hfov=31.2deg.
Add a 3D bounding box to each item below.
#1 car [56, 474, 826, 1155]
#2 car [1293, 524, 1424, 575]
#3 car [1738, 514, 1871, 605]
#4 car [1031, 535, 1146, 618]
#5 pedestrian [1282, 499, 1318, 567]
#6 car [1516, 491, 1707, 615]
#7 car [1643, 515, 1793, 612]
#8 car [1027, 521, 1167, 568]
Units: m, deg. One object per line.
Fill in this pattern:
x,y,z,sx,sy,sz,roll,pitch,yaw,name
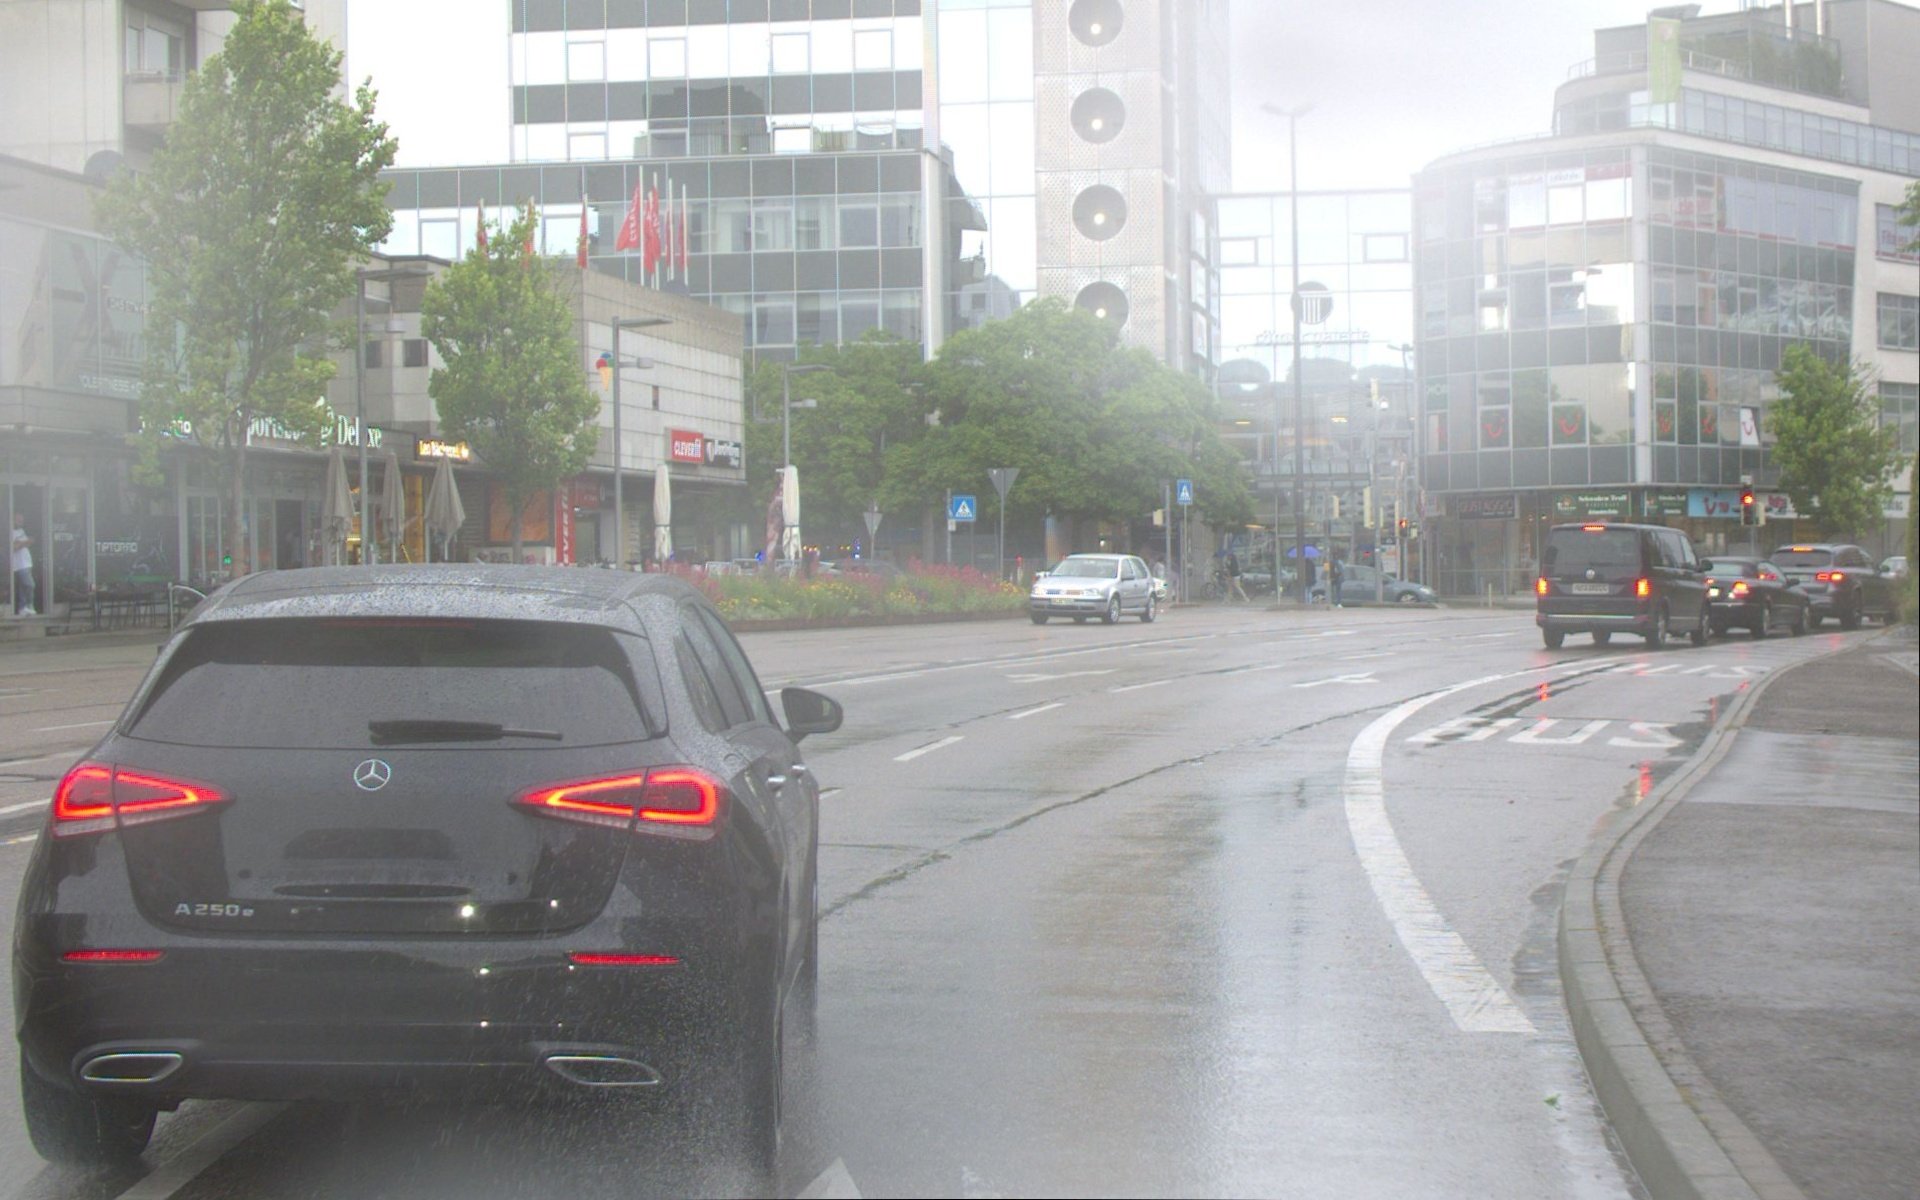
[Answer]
-1.207,0.418,9.516,1.662,1.476,4.095,0,1,-2,car
11.995,-1.521,103.393,3.881,1.513,1.785,0,1,8,car
16.541,-0.809,67.233,1.913,1.719,3.805,1,1,23,car
2.637,-0.504,69.896,1.693,1.626,3.509,0,1,13,car
8.717,-1.719,88.137,0.806,1.748,0.812,0,1,16,pedestrian
10.399,-0.768,54.675,2.045,1.889,4.133,1,1,25,car
13.554,-0.671,61.342,1.889,1.666,3.995,1,1,23,car
4.050,-1.644,101.137,3.988,1.379,1.728,0,1,7,car
